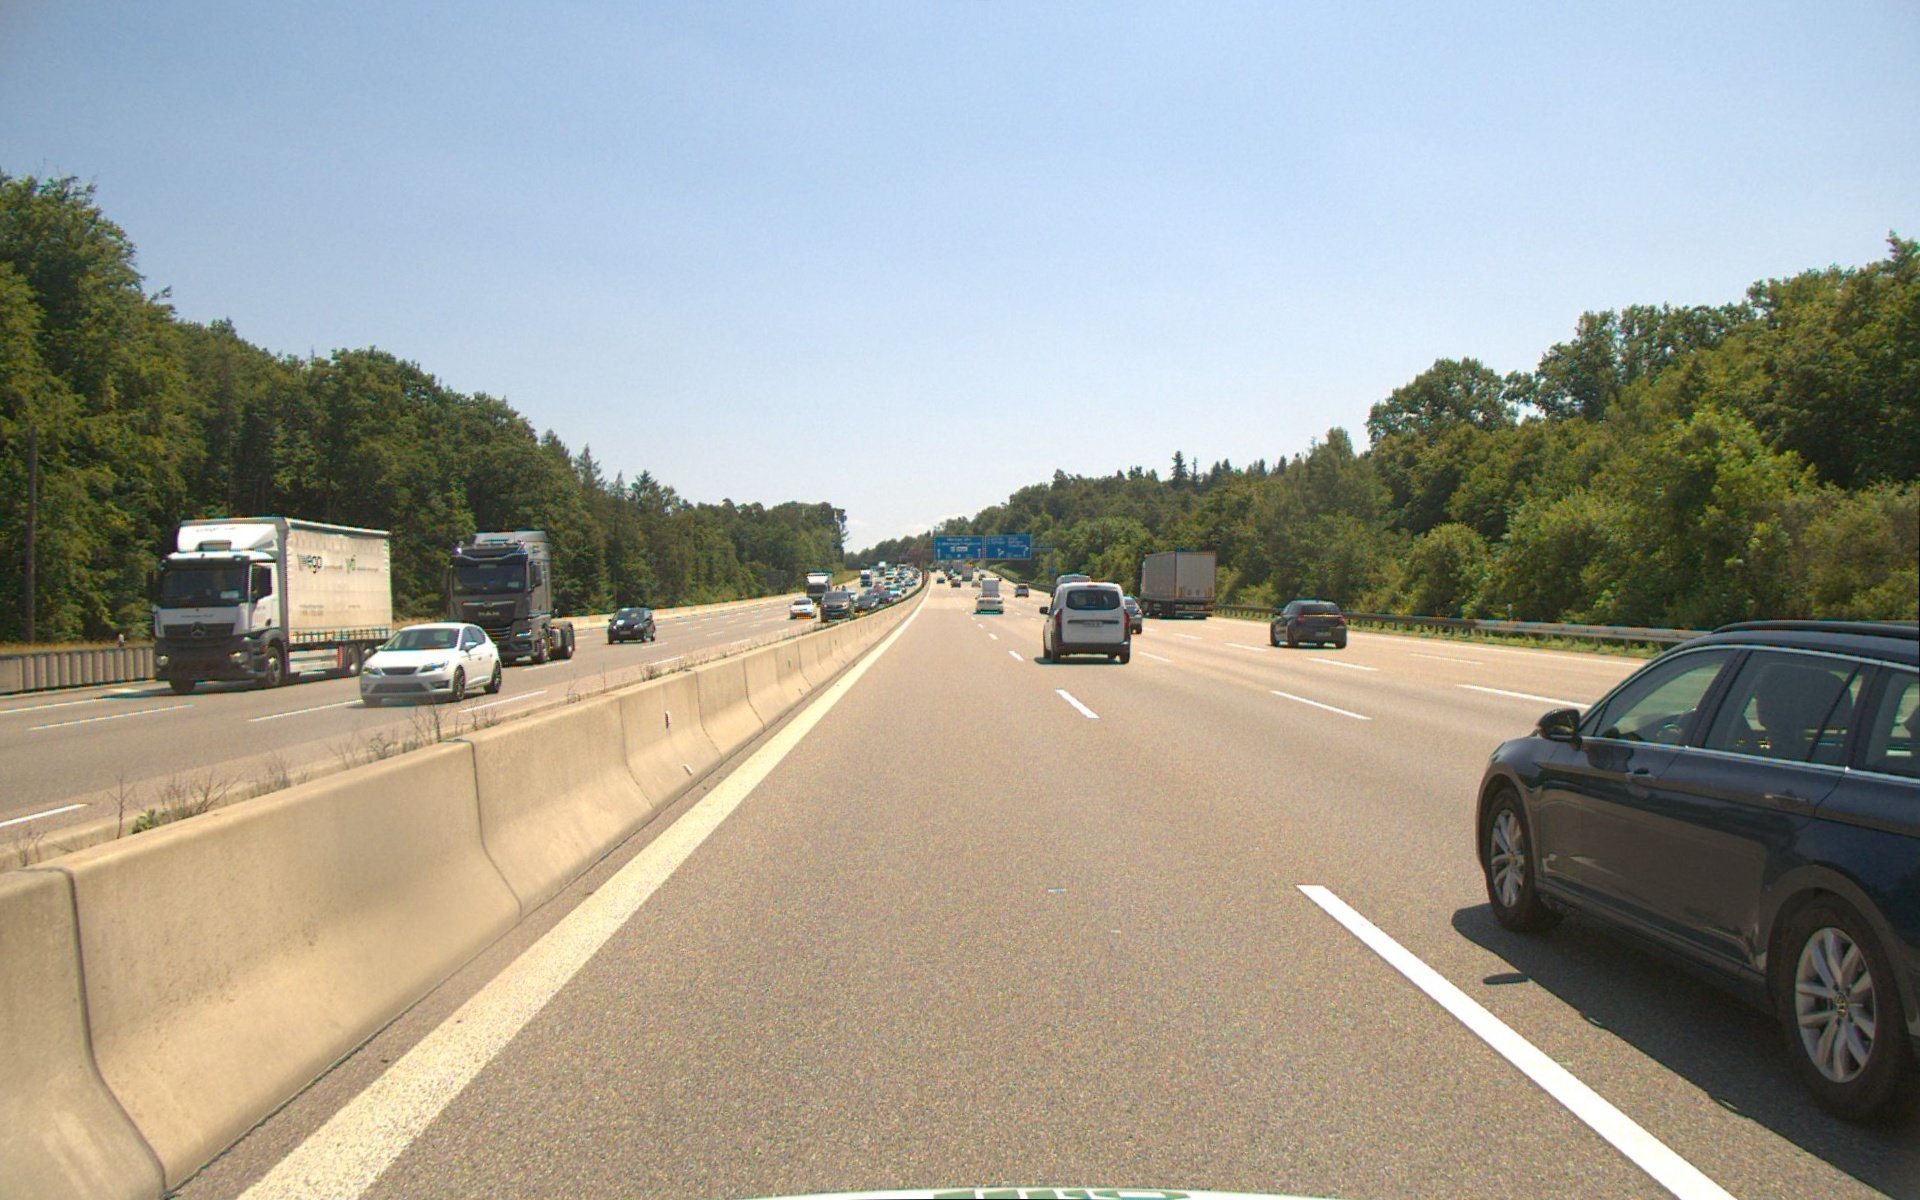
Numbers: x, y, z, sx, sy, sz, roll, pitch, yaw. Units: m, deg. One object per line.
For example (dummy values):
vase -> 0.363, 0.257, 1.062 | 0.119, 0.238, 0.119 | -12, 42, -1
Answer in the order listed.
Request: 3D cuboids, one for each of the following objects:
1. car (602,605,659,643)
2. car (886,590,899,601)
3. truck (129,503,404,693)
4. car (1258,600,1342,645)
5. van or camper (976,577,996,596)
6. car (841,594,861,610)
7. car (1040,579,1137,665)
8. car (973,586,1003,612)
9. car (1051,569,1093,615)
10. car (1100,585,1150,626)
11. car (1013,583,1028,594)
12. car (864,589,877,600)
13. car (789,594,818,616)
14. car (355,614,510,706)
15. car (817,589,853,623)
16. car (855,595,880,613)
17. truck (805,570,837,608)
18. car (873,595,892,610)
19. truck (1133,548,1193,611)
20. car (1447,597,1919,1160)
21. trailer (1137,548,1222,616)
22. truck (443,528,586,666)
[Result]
car -> -14.324, 1.011, 72.100 | 1.718, 1.512, 3.813 | -3, 0, -1
car -> -9.702, -0.660, 236.592 | 1.788, 1.419, 4.463 | -2, 1, -2
truck -> -17.717, -0.058, 43.308 | 2.777, 4.271, 10.594 | -2, 0, -1
car -> 10.349, 0.667, 50.603 | 1.636, 1.296, 4.289 | 1, 0, -1
van or camper -> 3.698, -1.976, 235.619 | 2.591, 2.583, 6.501 | -1, 0, -1
car -> -12.039, 0.197, 183.200 | 1.874, 1.690, 4.688 | -2, 1, -1
car -> 2.957, 0.473, 38.931 | 1.822, 1.857, 4.611 | -2, 0, -1
car -> 1.893, -0.062, 113.826 | 1.806, 1.657, 4.552 | -2, 0, -2
car -> 6.715, -0.520, 99.654 | 2.100, 2.698, 5.709 | 0, 1, -1
car -> 6.479, 0.192, 65.267 | 1.473, 1.526, 3.648 | -2, 1, -2
car -> 8.228, -1.531, 223.785 | 1.798, 1.361, 3.642 | -2, 0, -1
car -> -12.584, -0.772, 231.595 | 1.668, 1.452, 4.612 | -2, 1, -2
car -> -11.454, 0.363, 121.362 | 1.725, 1.489, 4.838 | -1, 0, -1
car -> -10.042, 1.094, 31.828 | 1.688, 1.533, 4.459 | -1, 0, -3
car -> -7.776, 0.362, 103.671 | 1.859, 1.987, 5.655 | -2, 0, -1
car -> -7.782, 0.326, 138.858 | 1.874, 1.489, 4.586 | -1, 0, -1
truck -> -15.586, -1.273, 185.658 | 2.800, 4.083, 9.466 | -1, 0, -1
car -> -8.268, 0.250, 176.091 | 1.874, 1.489, 4.362 | -1, 0, -1
truck -> 13.706, -1.420, 112.166 | 3.188, 4.178, 5.987 | 0, 1, -1
car -> 3.403, 0.742, 6.195 | 1.694, 1.472, 4.961 | 0, 0, 0
trailer -> 13.816, -1.199, 105.580 | 3.221, 3.999, 13.888 | 1, 1, -1
truck -> -13.719, -0.116, 51.524 | 2.525, 3.908, 7.016 | -2, 0, -1
